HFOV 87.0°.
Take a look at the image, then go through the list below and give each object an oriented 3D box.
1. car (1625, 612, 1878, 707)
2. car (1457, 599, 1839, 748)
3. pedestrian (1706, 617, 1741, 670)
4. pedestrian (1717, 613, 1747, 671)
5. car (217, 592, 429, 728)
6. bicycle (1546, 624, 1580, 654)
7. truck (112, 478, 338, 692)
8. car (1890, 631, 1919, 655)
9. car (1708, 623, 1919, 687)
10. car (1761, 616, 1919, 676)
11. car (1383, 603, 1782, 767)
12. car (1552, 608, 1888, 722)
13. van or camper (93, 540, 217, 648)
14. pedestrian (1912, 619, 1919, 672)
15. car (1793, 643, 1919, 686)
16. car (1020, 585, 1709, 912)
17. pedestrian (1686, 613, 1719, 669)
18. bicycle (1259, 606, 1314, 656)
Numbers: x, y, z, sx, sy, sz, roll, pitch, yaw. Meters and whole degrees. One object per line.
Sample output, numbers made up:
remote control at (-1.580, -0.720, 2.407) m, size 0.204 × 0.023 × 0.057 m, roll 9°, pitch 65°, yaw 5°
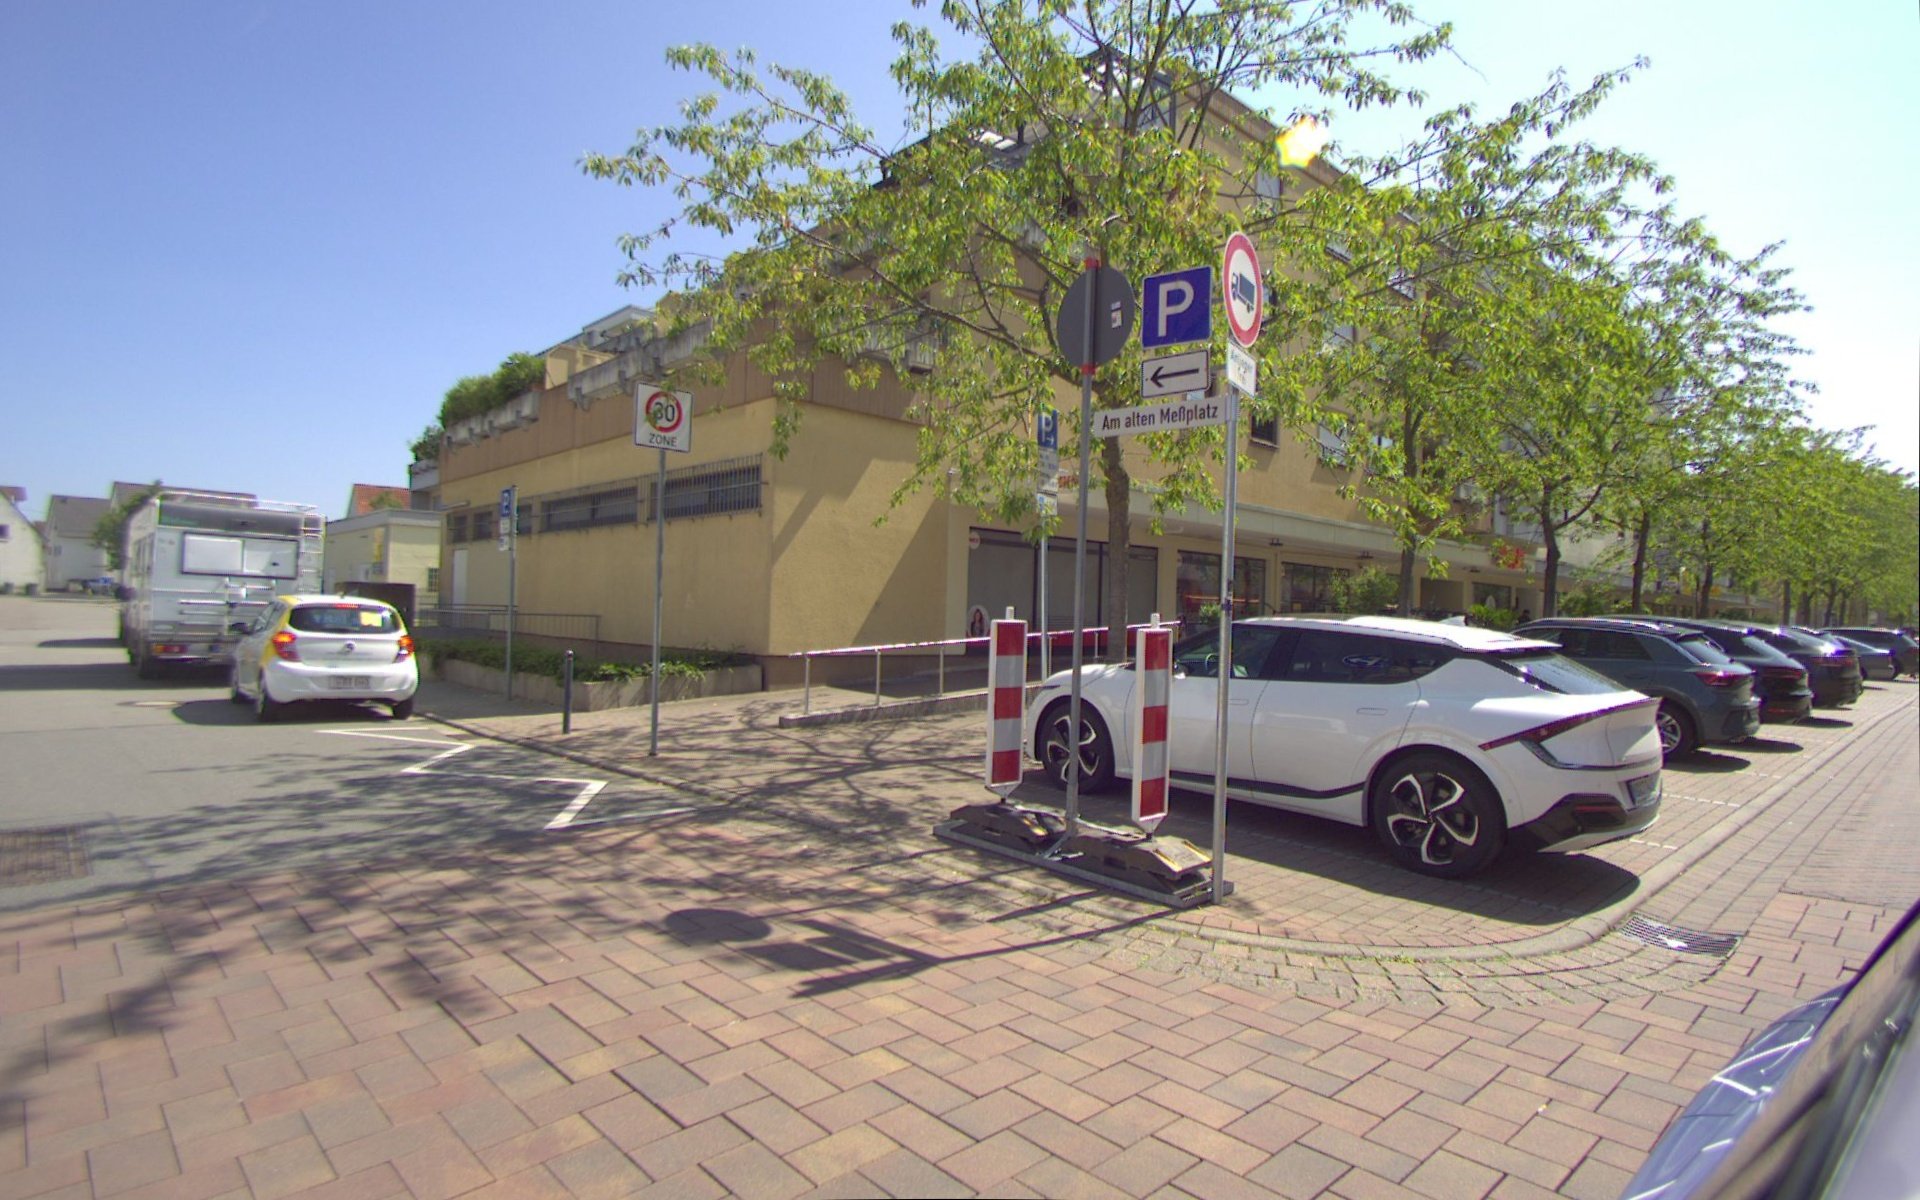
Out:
car at (16.761, 1.191, 21.581) m, size 1.653 × 1.632 × 4.031 m, roll 2°, pitch 1°, yaw -44°
car at (9.813, 0.927, 14.660) m, size 1.968 × 1.702 × 4.281 m, roll 2°, pitch 0°, yaw -45°
pedestrian at (25.310, 1.435, 33.552) m, size 0.634 × 1.753 × 0.617 m, roll 1°, pitch -1°, yaw -9°
pedestrian at (24.849, 1.339, 32.589) m, size 0.598 × 1.819 × 0.624 m, roll 1°, pitch -1°, yaw 19°
car at (-8.273, 0.677, 13.012) m, size 1.626 × 1.470 × 3.619 m, roll 3°, pitch -2°, yaw -43°
bicycle at (22.597, 1.457, 37.909) m, size 1.835 × 1.095 × 0.642 m, roll 1°, pitch -2°, yaw -44°
truck at (-12.959, -0.209, 17.605) m, size 2.500 × 3.044 × 6.394 m, roll 2°, pitch -1°, yaw -42°
car at (61.485, 2.763, 63.561) m, size 1.745 × 1.486 × 4.335 m, roll 2°, pitch -1°, yaw -39°
car at (24.424, 1.528, 29.126) m, size 4.348 × 1.482 × 1.871 m, roll 3°, pitch 0°, yaw 29°
car at (28.971, 1.463, 33.012) m, size 1.727 × 1.638 × 4.248 m, roll 2°, pitch 0°, yaw -44°
car at (7.715, 0.929, 12.797) m, size 1.793 × 1.553 × 3.948 m, roll 2°, pitch 1°, yaw -44°
car at (13.432, 1.057, 18.137) m, size 1.818 × 1.608 × 4.517 m, roll 2°, pitch 0°, yaw -41°
van or camper at (-20.533, -0.139, 25.727) m, size 2.034 × 2.510 × 4.662 m, roll 2°, pitch -1°, yaw -43°
pedestrian at (33.098, 1.556, 34.518) m, size 0.854 × 1.803 × 0.760 m, roll 2°, pitch -1°, yaw -36°
car at (36.836, 2.584, 40.999) m, size 1.775 × 1.563 × 4.580 m, roll 3°, pitch -2°, yaw -42°
car at (2.678, 0.786, 7.587) m, size 1.758 × 1.595 × 4.447 m, roll 2°, pitch 1°, yaw -43°
pedestrian at (24.039, 1.316, 32.782) m, size 0.621 × 1.796 × 0.685 m, roll 1°, pitch -1°, yaw 9°
bicycle at (7.649, 0.708, 23.682) m, size 1.743 × 1.138 × 0.413 m, roll 1°, pitch -2°, yaw -42°
